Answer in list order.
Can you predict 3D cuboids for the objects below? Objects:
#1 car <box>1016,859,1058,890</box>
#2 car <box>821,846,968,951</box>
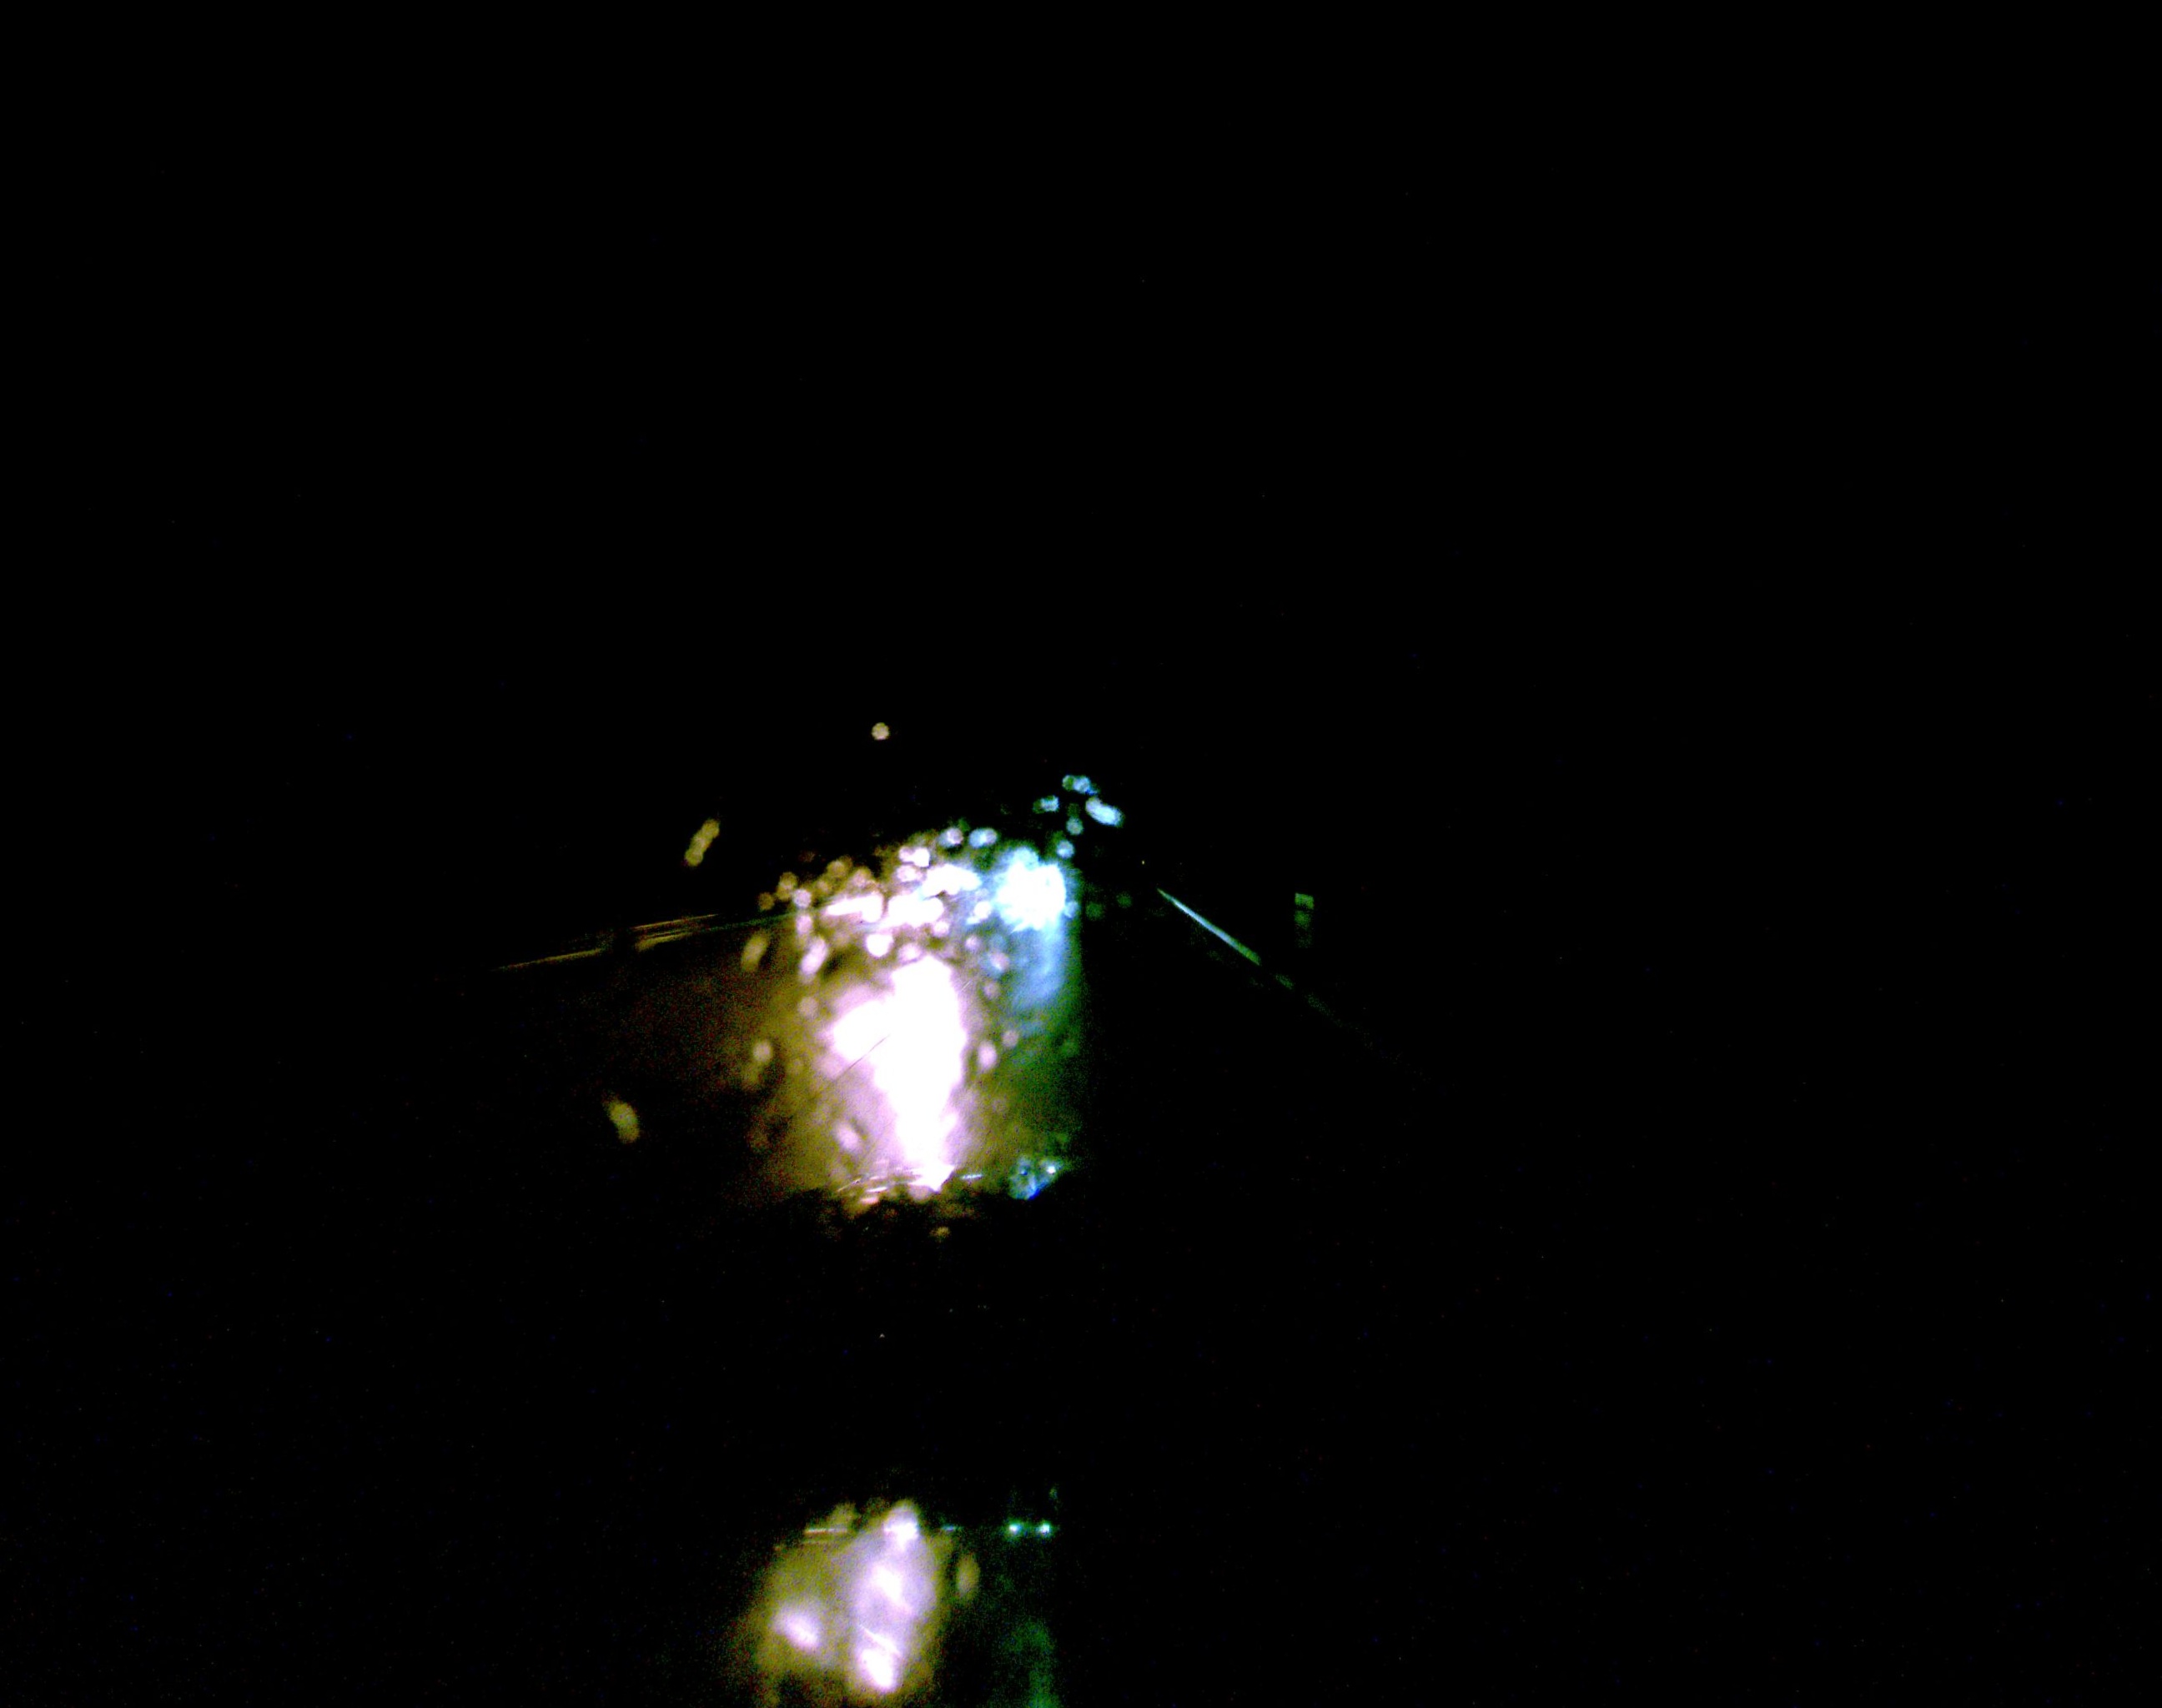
[{"bbox_3d":[-2.209,1.020,41.705,1.830,1.471,4.392,-1,0,0],"label":"car"},{"bbox_3d":[-3.367,0.713,15.546,1.927,1.587,3.997,-3,1,-2],"label":"car"}]
